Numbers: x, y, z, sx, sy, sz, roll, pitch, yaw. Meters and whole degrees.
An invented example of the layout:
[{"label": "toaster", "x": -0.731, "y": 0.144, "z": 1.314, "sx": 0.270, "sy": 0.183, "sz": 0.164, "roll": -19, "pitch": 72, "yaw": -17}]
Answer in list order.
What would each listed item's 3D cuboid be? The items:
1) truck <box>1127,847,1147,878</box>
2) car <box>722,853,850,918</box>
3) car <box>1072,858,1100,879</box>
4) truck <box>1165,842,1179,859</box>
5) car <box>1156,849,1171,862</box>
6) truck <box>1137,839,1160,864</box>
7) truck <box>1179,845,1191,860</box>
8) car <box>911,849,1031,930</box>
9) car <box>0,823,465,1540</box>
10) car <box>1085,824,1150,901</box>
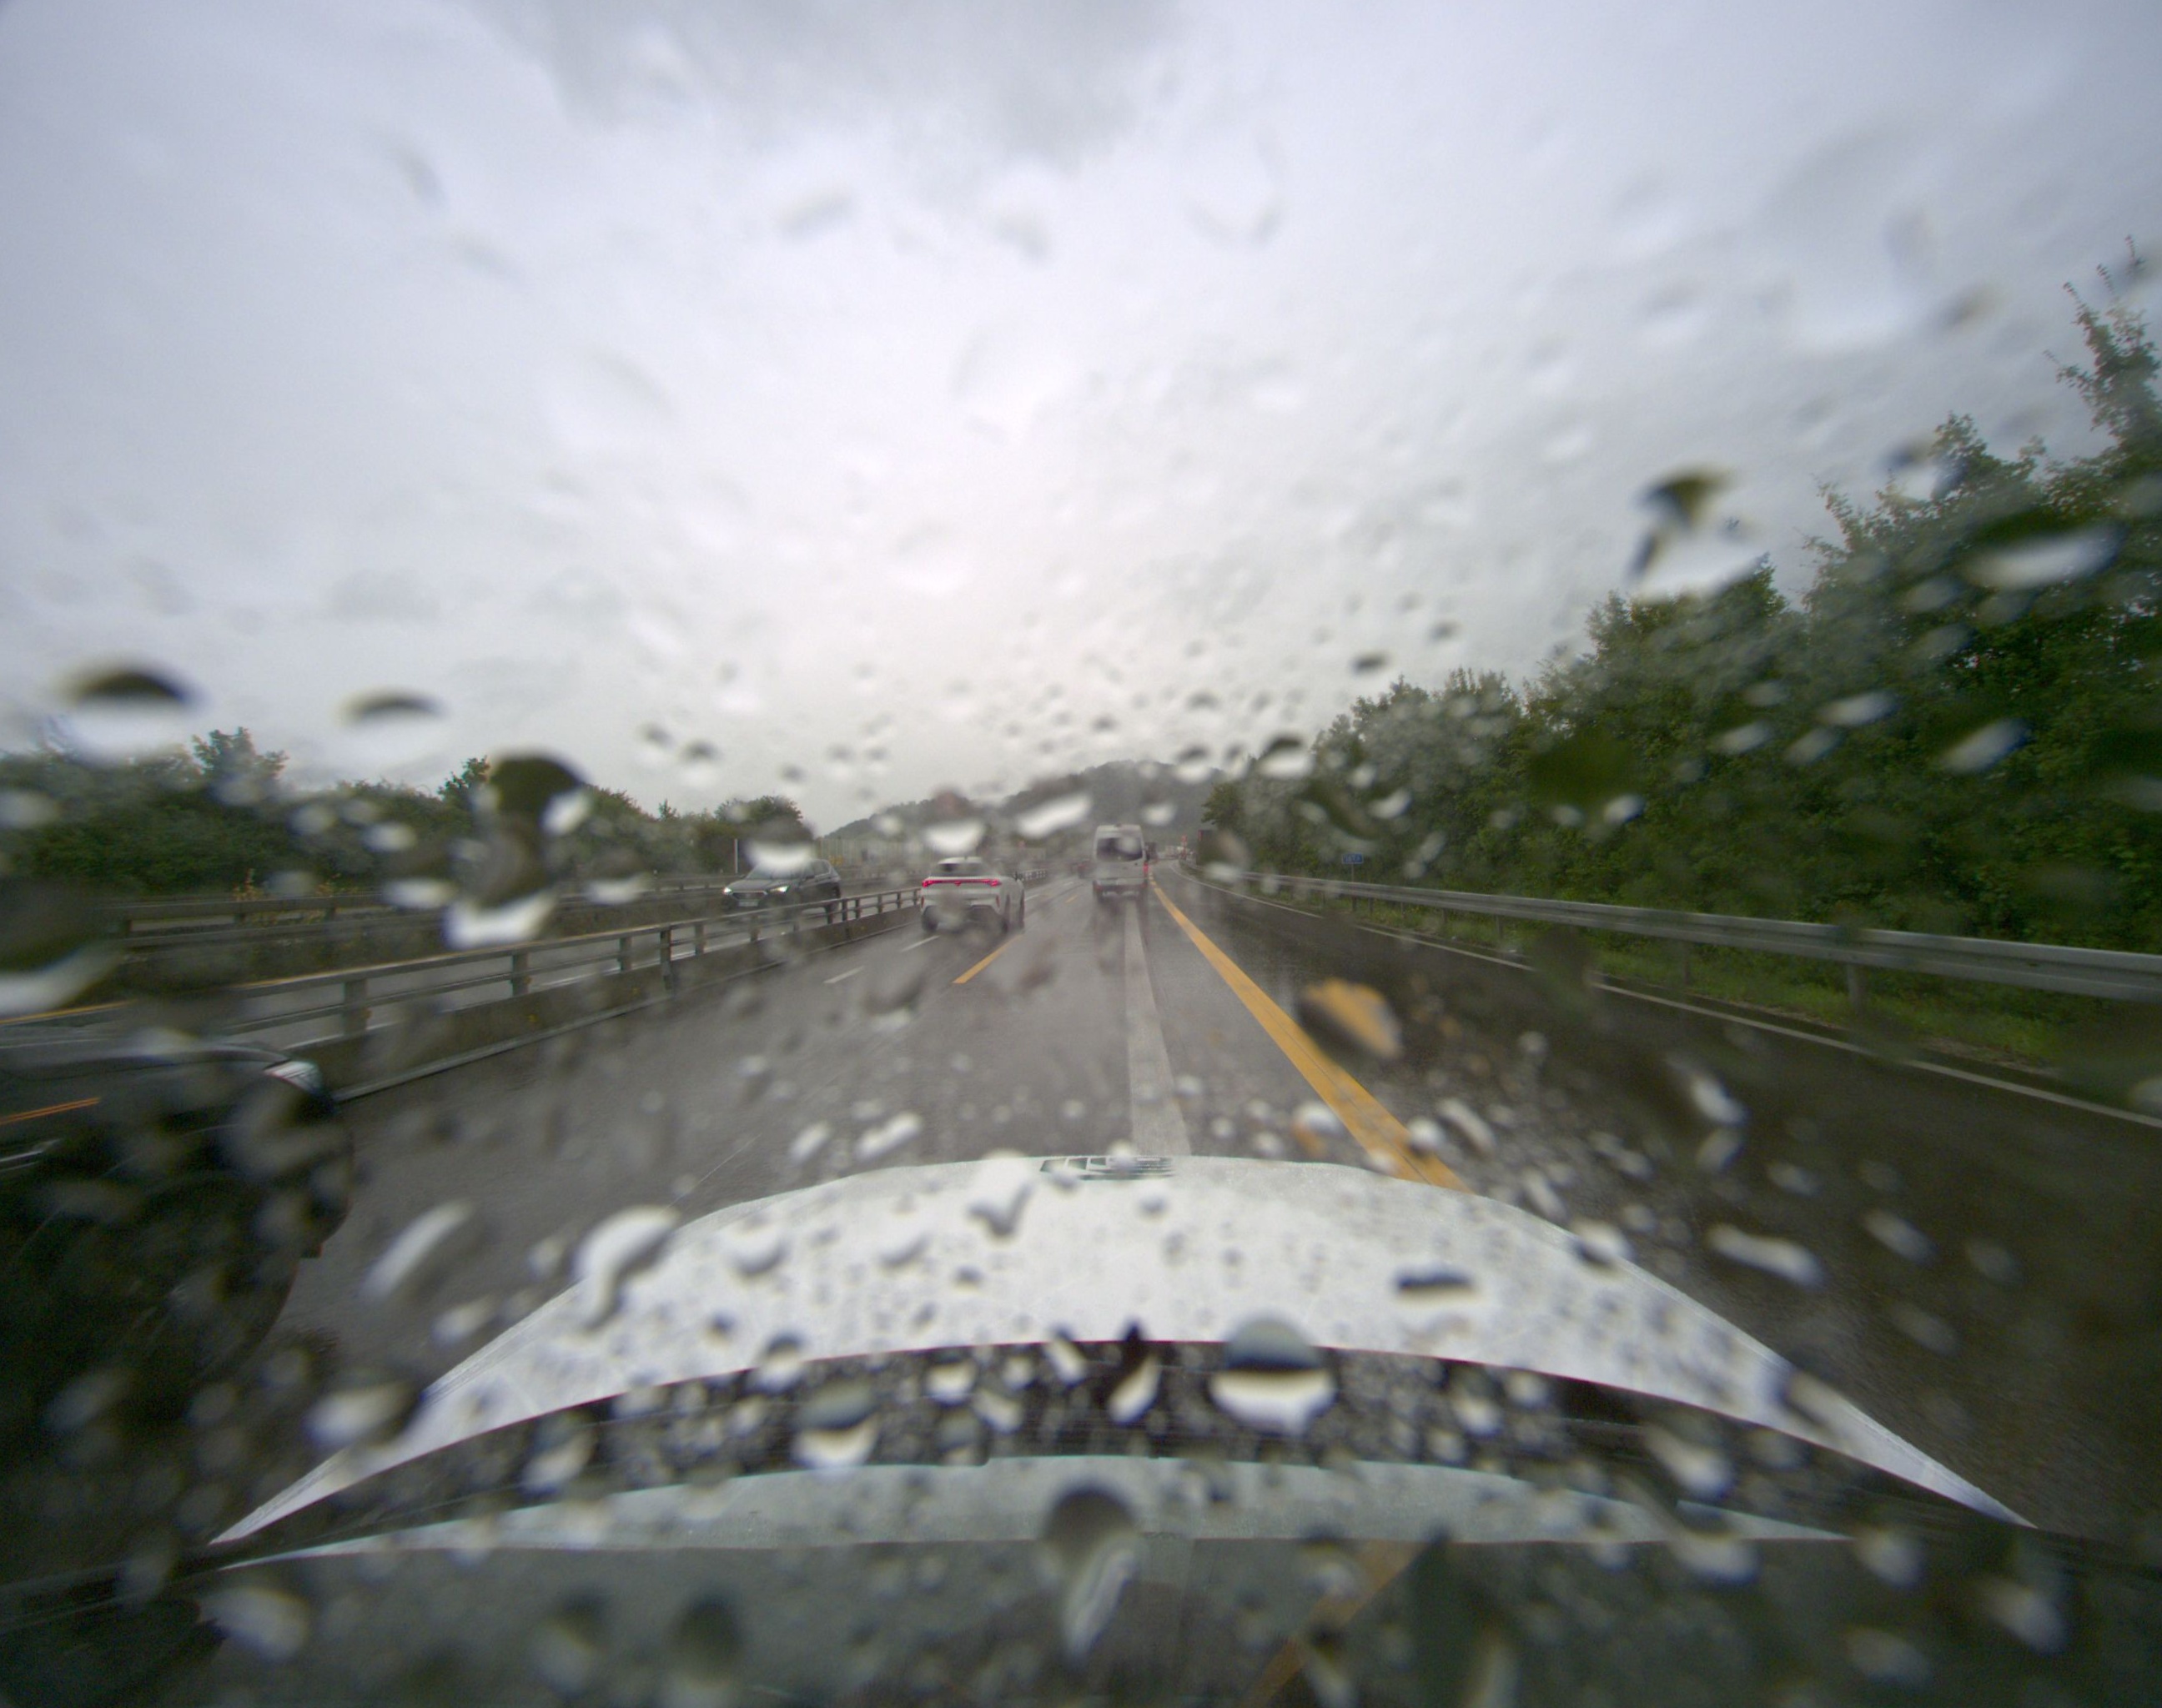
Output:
[{"label": "truck", "x": 6.020, "y": 0.921, "z": 86.976, "sx": 1.984, "sy": 3.109, "sz": 8.510, "roll": 0, "pitch": -1, "yaw": 5}, {"label": "car", "x": -7.972, "y": 0.805, "z": 22.454, "sx": 1.771, "sy": 1.604, "sz": 4.319, "roll": 0, "pitch": -1, "yaw": 3}, {"label": "car", "x": 0.432, "y": 1.114, "z": 62.764, "sx": 1.938, "sy": 1.561, "sz": 4.003, "roll": 0, "pitch": -1, "yaw": 3}, {"label": "truck", "x": 25.677, "y": -0.938, "z": 229.196, "sx": 3.017, "sy": 4.406, "sz": 9.651, "roll": -1, "pitch": -1, "yaw": 10}, {"label": "car", "x": 19.511, "y": 0.423, "z": 192.885, "sx": 2.880, "sy": 2.887, "sz": 6.430, "roll": -1, "pitch": -1, "yaw": 11}, {"label": "truck", "x": 12.182, "y": -0.394, "z": 146.043, "sx": 3.562, "sy": 4.406, "sz": 9.643, "roll": 0, "pitch": -1, "yaw": 7}, {"label": "truck", "x": 33.418, "y": -0.444, "z": 260.815, "sx": 2.878, "sy": 4.406, "sz": 9.657, "roll": -1, "pitch": -1, "yaw": 13}, {"label": "car", "x": -2.381, "y": 0.743, "z": 18.872, "sx": 1.986, "sy": 1.617, "sz": 4.798, "roll": 0, "pitch": -1, "yaw": 2}, {"label": "car", "x": -3.435, "y": 0.722, "z": 0.900, "sx": 1.985, "sy": 1.585, "sz": 4.417, "roll": 0, "pitch": -1, "yaw": 3}, {"label": "car", "x": 1.325, "y": 0.301, "z": 30.079, "sx": 2.137, "sy": 2.571, "sz": 5.392, "roll": 0, "pitch": -1, "yaw": 2}]
